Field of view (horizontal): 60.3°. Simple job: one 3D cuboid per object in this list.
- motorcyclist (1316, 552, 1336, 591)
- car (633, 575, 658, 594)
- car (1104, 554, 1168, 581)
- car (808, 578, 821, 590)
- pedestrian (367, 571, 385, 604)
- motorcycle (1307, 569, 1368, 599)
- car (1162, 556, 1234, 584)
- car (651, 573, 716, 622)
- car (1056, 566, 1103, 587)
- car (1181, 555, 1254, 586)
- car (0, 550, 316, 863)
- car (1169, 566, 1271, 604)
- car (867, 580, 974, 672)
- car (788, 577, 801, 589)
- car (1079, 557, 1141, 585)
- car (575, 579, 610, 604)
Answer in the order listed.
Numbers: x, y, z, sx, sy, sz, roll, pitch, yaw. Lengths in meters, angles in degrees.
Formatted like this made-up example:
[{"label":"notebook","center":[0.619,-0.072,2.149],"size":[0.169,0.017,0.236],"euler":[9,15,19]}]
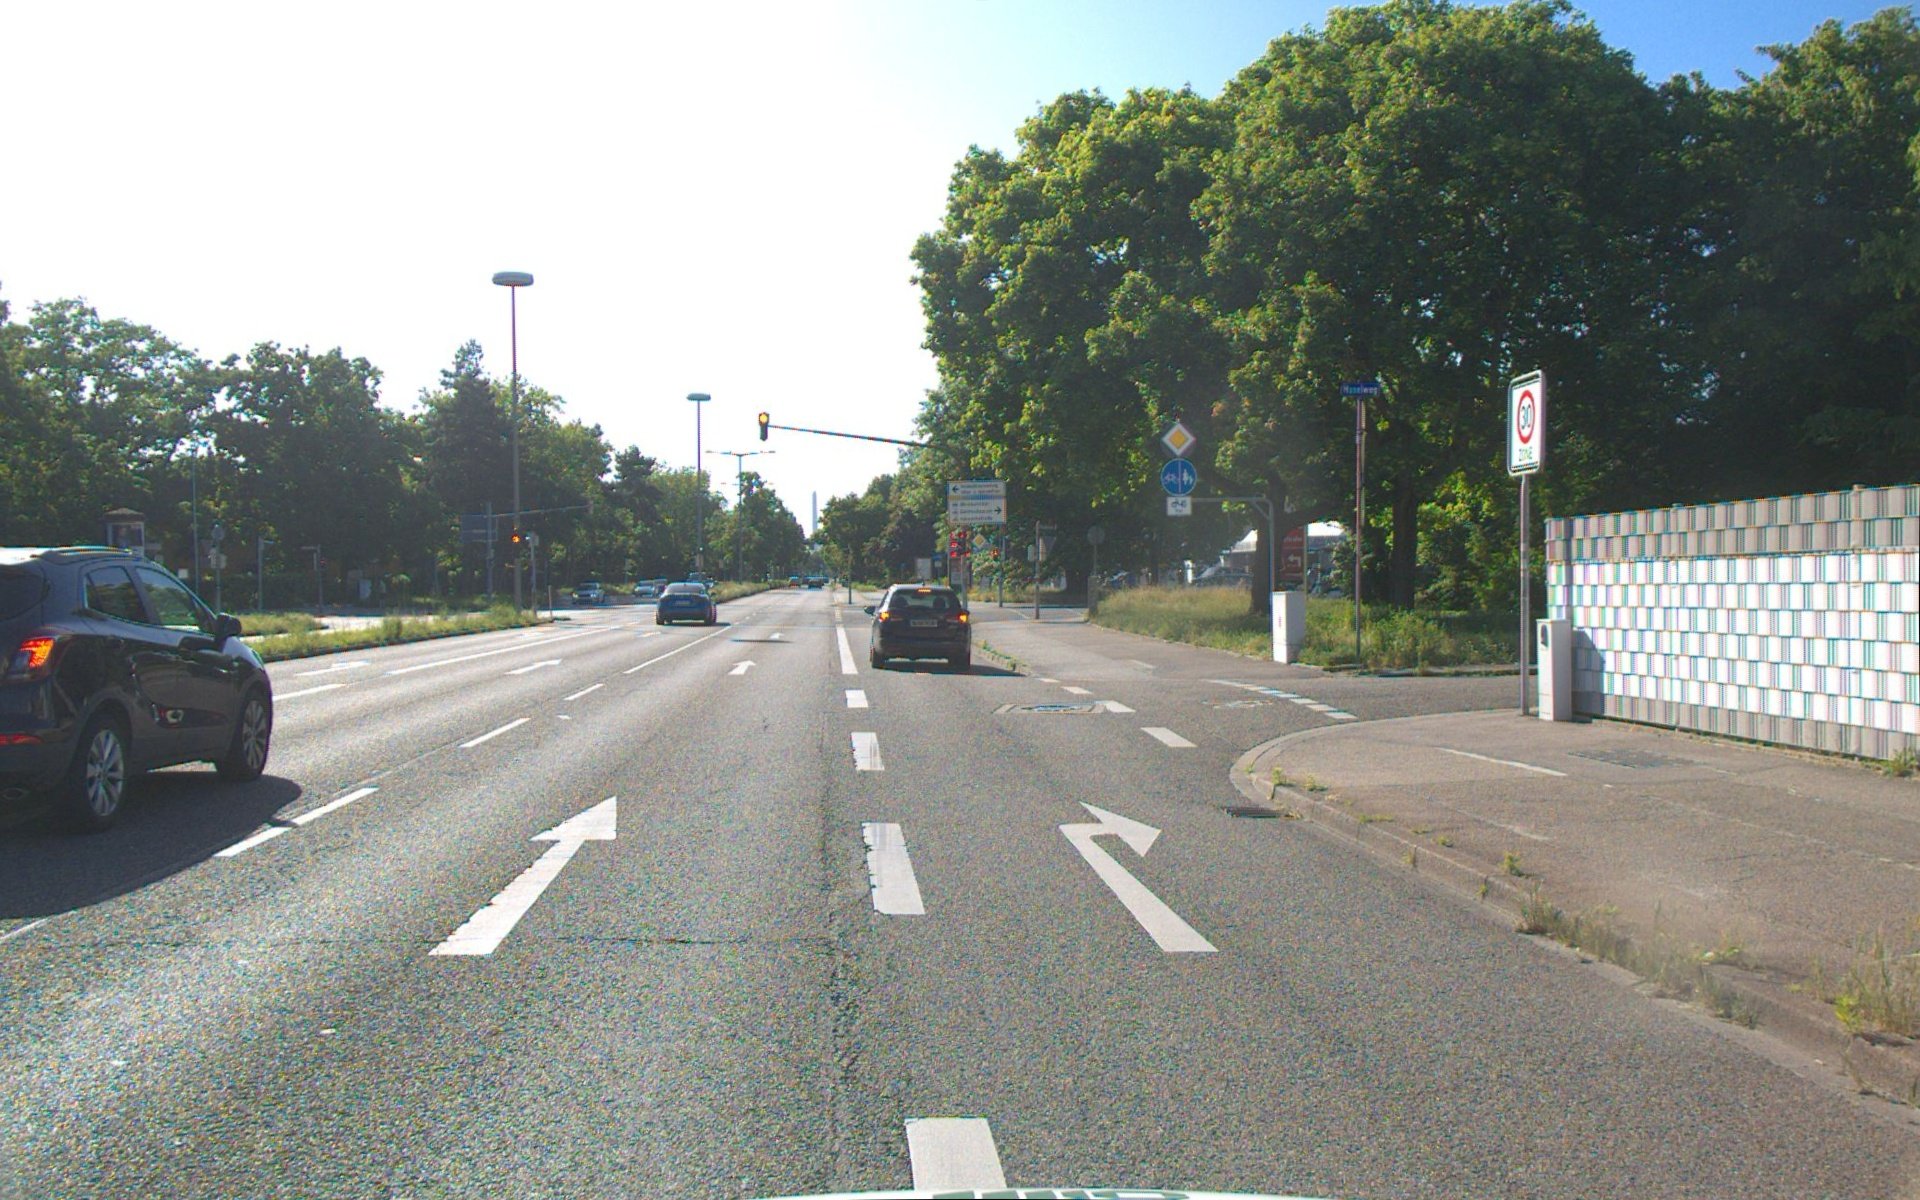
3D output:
[{"label":"motorcyclist","center":[16.560,-1.280,74.807],"size":[0.842,1.709,0.835],"euler":[1,0,12]},{"label":"car","center":[-29.209,-1.406,153.699],"size":[1.827,1.713,3.997],"euler":[1,0,-4]},{"label":"car","center":[11.049,-2.036,103.492],"size":[3.806,1.590,1.782],"euler":[1,0,-37]},{"label":"car","center":[-19.111,-2.098,217.551],"size":[1.698,1.612,3.836],"euler":[1,0,-5]},{"label":"pedestrian","center":[-33.727,-0.739,95.541],"size":[0.828,1.867,0.549],"euler":[-1,0,-1]},{"label":"motorcycle","center":[17.038,-0.716,74.734],"size":[2.667,1.292,0.835],"euler":[1,0,12]},{"label":"car","center":[13.915,-1.744,96.705],"size":[3.785,1.508,1.792],"euler":[1,0,-24]},{"label":"car","center":[-9.552,-0.101,57.408],"size":[1.851,1.579,3.996],"euler":[-1,1,-5]},{"label":"car","center":[10.040,-1.991,138.988],"size":[3.641,1.714,1.701],"euler":[1,0,-7]},{"label":"car","center":[14.721,-1.677,94.718],"size":[3.785,1.640,1.792],"euler":[1,0,-24]},{"label":"car","center":[-5.830,0.547,10.949],"size":[1.662,1.660,4.414],"euler":[-1,1,-4]},{"label":"car","center":[11.814,-0.678,75.383],"size":[4.520,1.601,2.002],"euler":[-1,0,7]},{"label":"car","center":[-0.779,0.422,29.929],"size":[1.721,1.535,3.805],"euler":[0,0,-5]},{"label":"car","center":[-24.698,-2.537,246.757],"size":[1.789,1.643,3.834],"euler":[0,-3,-6]},{"label":"car","center":[9.592,-1.830,105.744],"size":[3.674,1.714,1.686],"euler":[1,0,-31]},{"label":"car","center":[-26.094,-0.607,117.462],"size":[1.827,1.713,4.257],"euler":[1,0,-4]}]
